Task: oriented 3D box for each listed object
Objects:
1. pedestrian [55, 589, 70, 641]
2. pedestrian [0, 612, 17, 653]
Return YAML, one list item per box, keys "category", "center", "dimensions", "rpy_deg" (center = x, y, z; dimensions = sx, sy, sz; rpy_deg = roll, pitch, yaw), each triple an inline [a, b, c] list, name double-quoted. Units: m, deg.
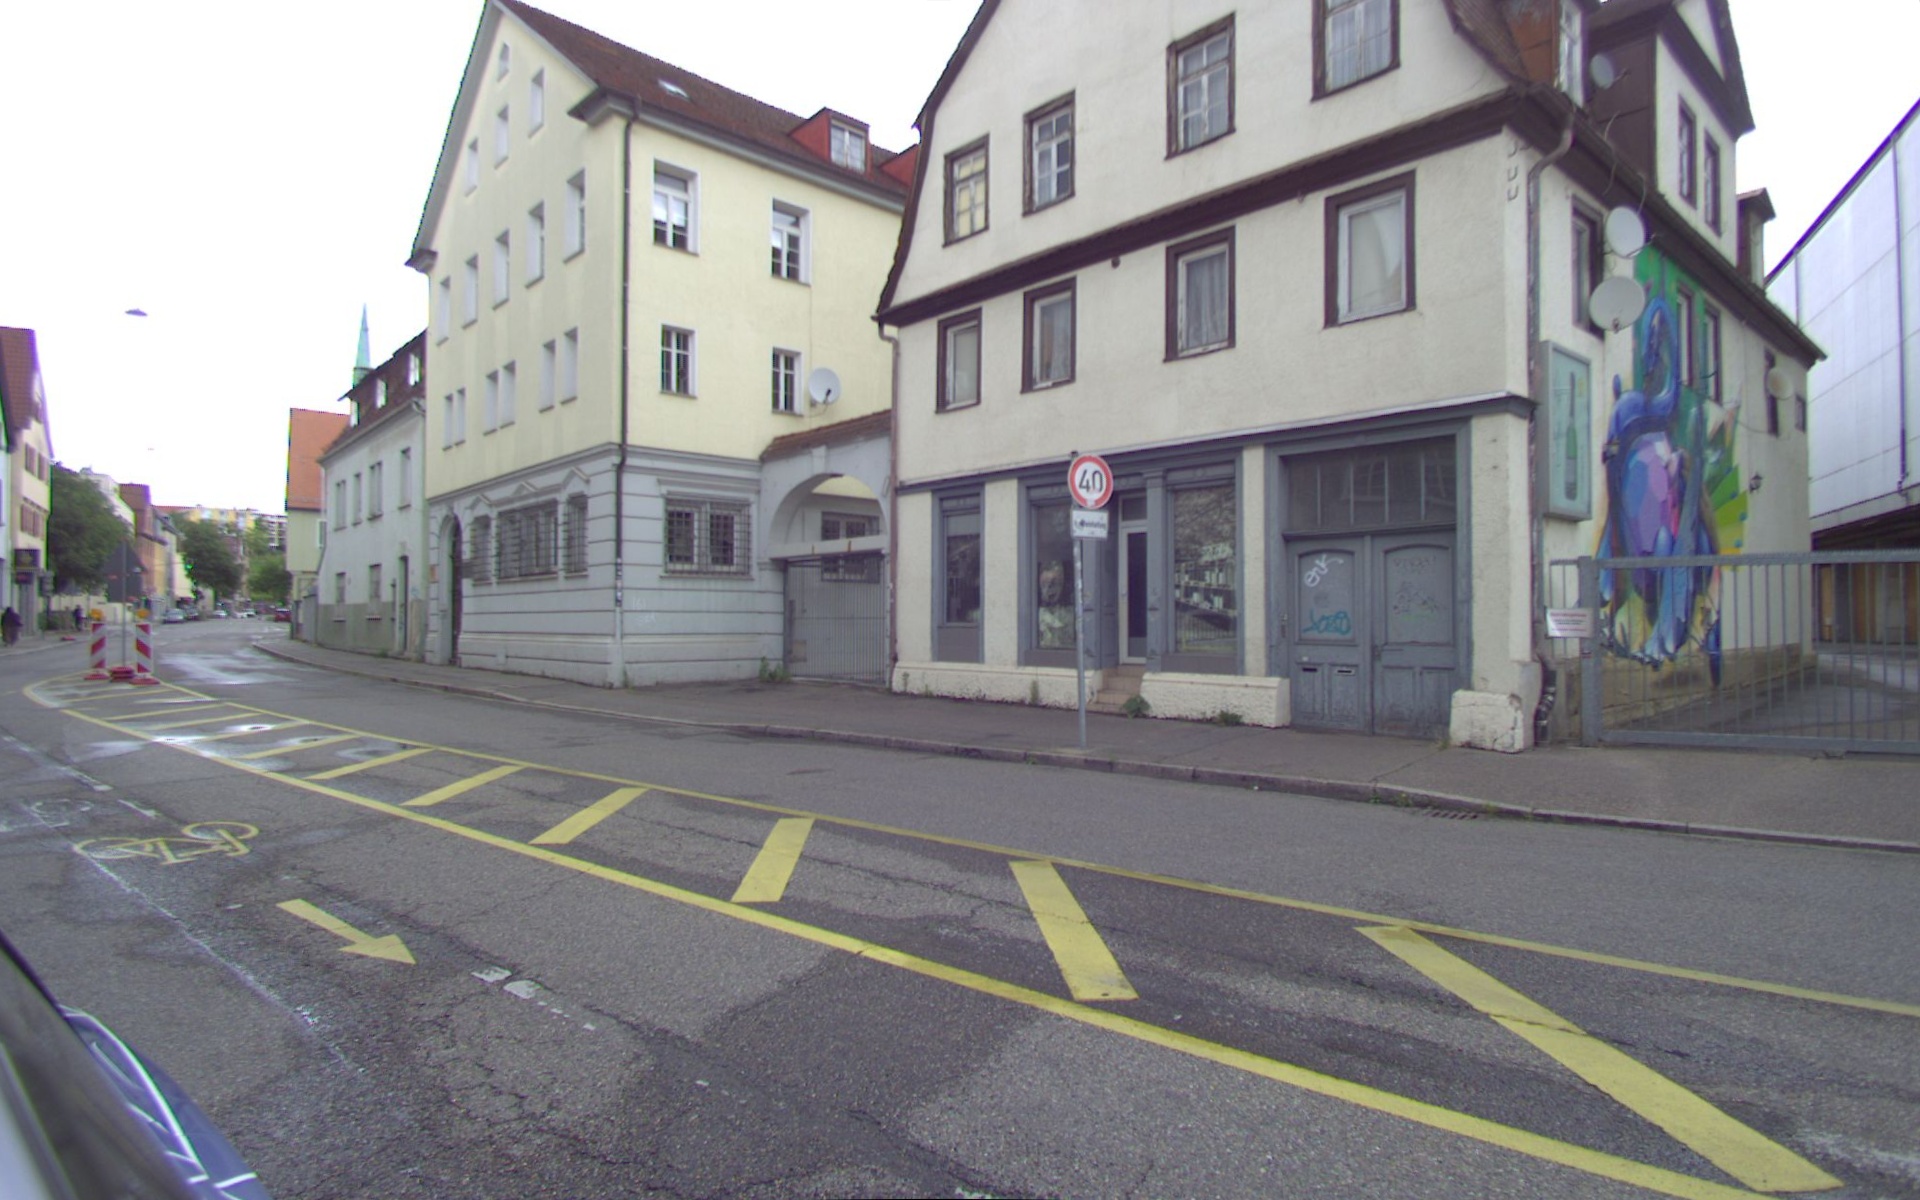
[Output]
- category: "pedestrian"
  center: [-43.751, 0.732, 49.329]
  dimensions: [0.487, 2.547, 0.747]
  rpy_deg: [1, -2, -38]
- category: "pedestrian"
  center: [-38.005, 1.302, 40.171]
  dimensions: [0.714, 1.626, 0.650]
  rpy_deg: [1, -2, -36]
